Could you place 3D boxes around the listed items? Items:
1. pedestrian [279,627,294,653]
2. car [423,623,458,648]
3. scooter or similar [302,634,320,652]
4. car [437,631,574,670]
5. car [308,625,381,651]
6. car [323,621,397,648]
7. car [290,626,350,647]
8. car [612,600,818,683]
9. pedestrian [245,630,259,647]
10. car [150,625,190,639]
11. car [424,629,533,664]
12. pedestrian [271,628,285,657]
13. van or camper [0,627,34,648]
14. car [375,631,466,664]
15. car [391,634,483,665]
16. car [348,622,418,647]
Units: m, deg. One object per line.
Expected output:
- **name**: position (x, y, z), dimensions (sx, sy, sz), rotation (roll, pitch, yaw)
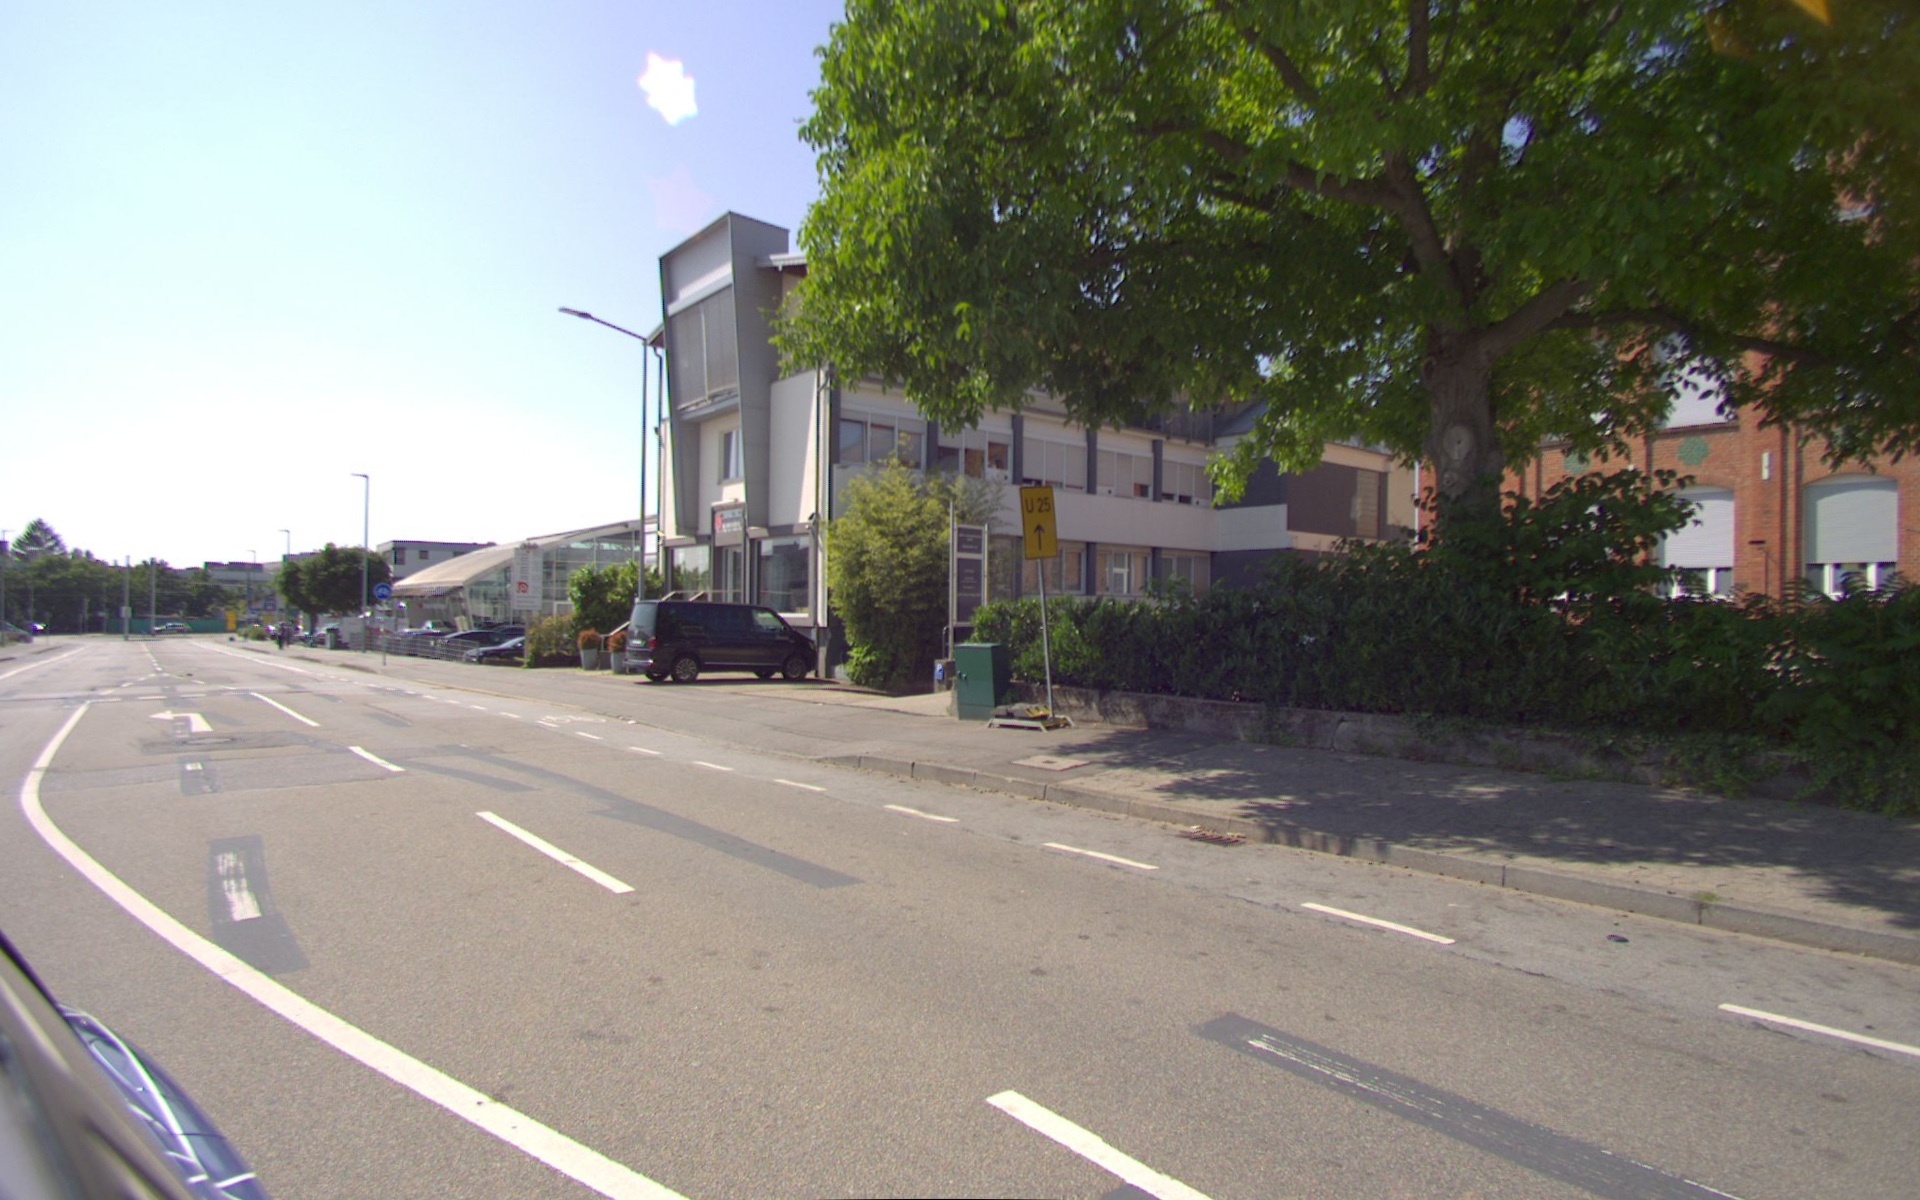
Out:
- **pedestrian**: position (-47.360, 2.806, 71.122), dimensions (0.714, 1.862, 0.912), rotation (1, -2, -43)
- **car**: position (-36.637, 2.491, 71.299), dimensions (1.966, 1.697, 4.012), rotation (0, -1, -31)
- **scooter or similar**: position (-45.211, 2.979, 70.486), dimensions (1.490, 1.257, 0.735), rotation (-2, -2, 43)
- **car**: position (-18.375, 2.000, 41.052), dimensions (4.680, 1.492, 2.051), rotation (1, -2, -41)
- **car**: position (-44.801, 2.738, 73.769), dimensions (1.842, 1.709, 4.558), rotation (-1, -1, 15)
- **car**: position (-42.419, 2.413, 71.675), dimensions (1.893, 1.720, 4.459), rotation (-1, 0, 15)
- **car**: position (-51.925, 2.945, 82.203), dimensions (1.885, 1.470, 4.151), rotation (-1, 0, 7)
- **car**: position (-6.013, 1.033, 25.100), dimensions (4.507, 1.880, 2.096), rotation (2, -3, -39)
- **pedestrian**: position (-69.484, 3.797, 99.342), dimensions (0.980, 1.698, 0.802), rotation (1, -2, -28)
- **car**: position (-110.733, 4.483, 141.897), dimensions (3.932, 1.718, 2.006), rotation (-2, 0, -18)
- **car**: position (-22.739, 2.156, 47.894), dimensions (4.245, 1.570, 1.997), rotation (1, -2, -43)
- **pedestrian**: position (-44.626, 2.769, 66.247), dimensions (0.722, 1.882, 1.050), rotation (1, -2, -34)
- **van or camper**: position (-93.894, 3.658, 98.559), dimensions (1.972, 1.976, 5.102), rotation (1, -2, 20)
- **car**: position (-29.158, 2.579, 54.763), dimensions (3.939, 1.454, 1.861), rotation (9, -7, -42)
- **car**: position (-27.619, 2.589, 53.476), dimensions (3.939, 1.501, 1.861), rotation (1, 0, -43)
- **car**: position (-39.629, 2.344, 69.608), dimensions (1.845, 1.562, 3.974), rotation (-1, -1, 20)
